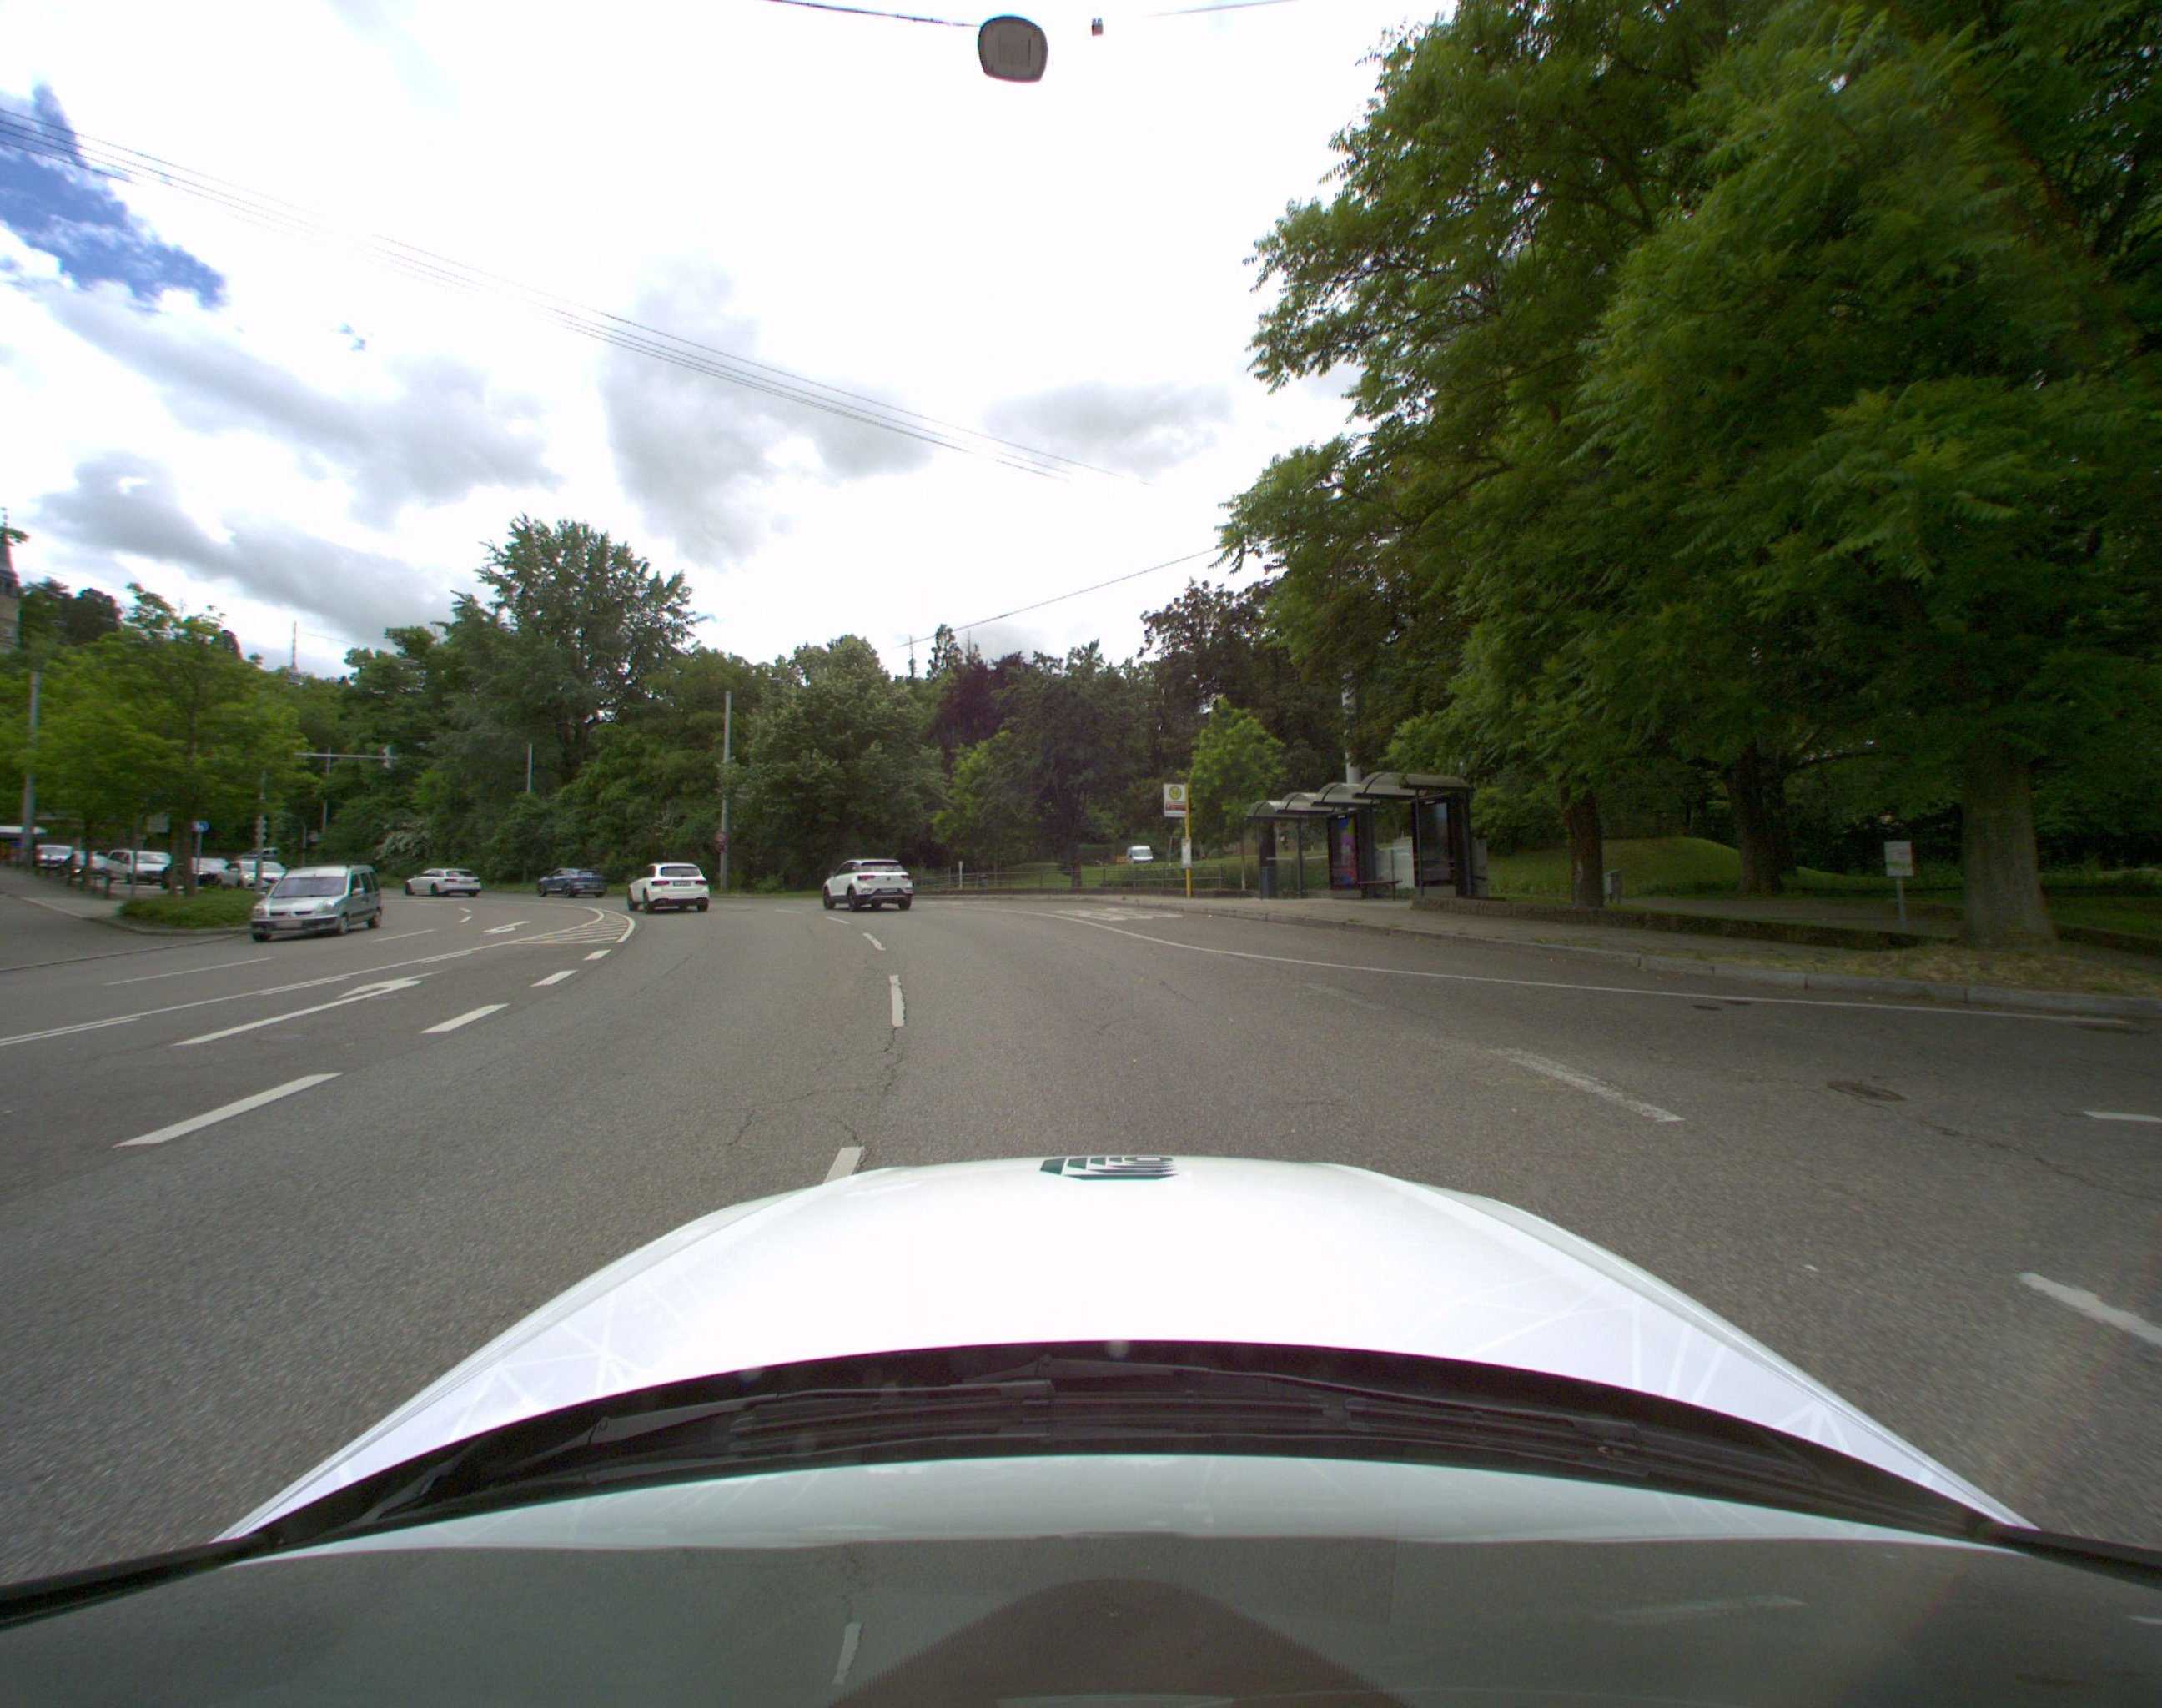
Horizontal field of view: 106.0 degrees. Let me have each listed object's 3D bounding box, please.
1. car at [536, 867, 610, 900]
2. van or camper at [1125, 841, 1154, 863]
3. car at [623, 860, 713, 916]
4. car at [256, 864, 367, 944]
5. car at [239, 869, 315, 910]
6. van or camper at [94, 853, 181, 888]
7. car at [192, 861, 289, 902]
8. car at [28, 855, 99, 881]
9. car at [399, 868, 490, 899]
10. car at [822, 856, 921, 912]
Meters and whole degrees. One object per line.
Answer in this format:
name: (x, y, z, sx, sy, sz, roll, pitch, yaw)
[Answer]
car: (-27.010, 1.539, 43.271, 3.908, 1.632, 1.879, -1, 0, 33)
van or camper: (5.574, -0.150, 78.219, 2.297, 2.013, 5.439, -1, 0, -1)
car: (-14.030, 1.073, 27.532, 1.892, 1.651, 4.292, -3, 1, -38)
car: (-19.893, 1.201, 21.086, 1.929, 1.830, 3.990, -1, 0, -44)
car: (-35.324, 1.512, 35.760, 4.319, 1.654, 1.914, -1, 0, 39)
van or camper: (-54.284, 0.944, 46.853, 5.388, 1.896, 2.012, 0, -3, 28)
car: (-39.177, 1.263, 37.940, 4.698, 1.791, 1.914, -1, 0, 28)
car: (-63.294, 0.869, 50.662, 3.940, 1.521, 2.012, 0, -4, 28)
car: (-33.336, 1.525, 42.644, 4.252, 1.519, 2.268, 0, -2, 30)
car: (-6.535, 0.863, 25.145, 1.877, 1.556, 3.855, -1, 0, -32)
